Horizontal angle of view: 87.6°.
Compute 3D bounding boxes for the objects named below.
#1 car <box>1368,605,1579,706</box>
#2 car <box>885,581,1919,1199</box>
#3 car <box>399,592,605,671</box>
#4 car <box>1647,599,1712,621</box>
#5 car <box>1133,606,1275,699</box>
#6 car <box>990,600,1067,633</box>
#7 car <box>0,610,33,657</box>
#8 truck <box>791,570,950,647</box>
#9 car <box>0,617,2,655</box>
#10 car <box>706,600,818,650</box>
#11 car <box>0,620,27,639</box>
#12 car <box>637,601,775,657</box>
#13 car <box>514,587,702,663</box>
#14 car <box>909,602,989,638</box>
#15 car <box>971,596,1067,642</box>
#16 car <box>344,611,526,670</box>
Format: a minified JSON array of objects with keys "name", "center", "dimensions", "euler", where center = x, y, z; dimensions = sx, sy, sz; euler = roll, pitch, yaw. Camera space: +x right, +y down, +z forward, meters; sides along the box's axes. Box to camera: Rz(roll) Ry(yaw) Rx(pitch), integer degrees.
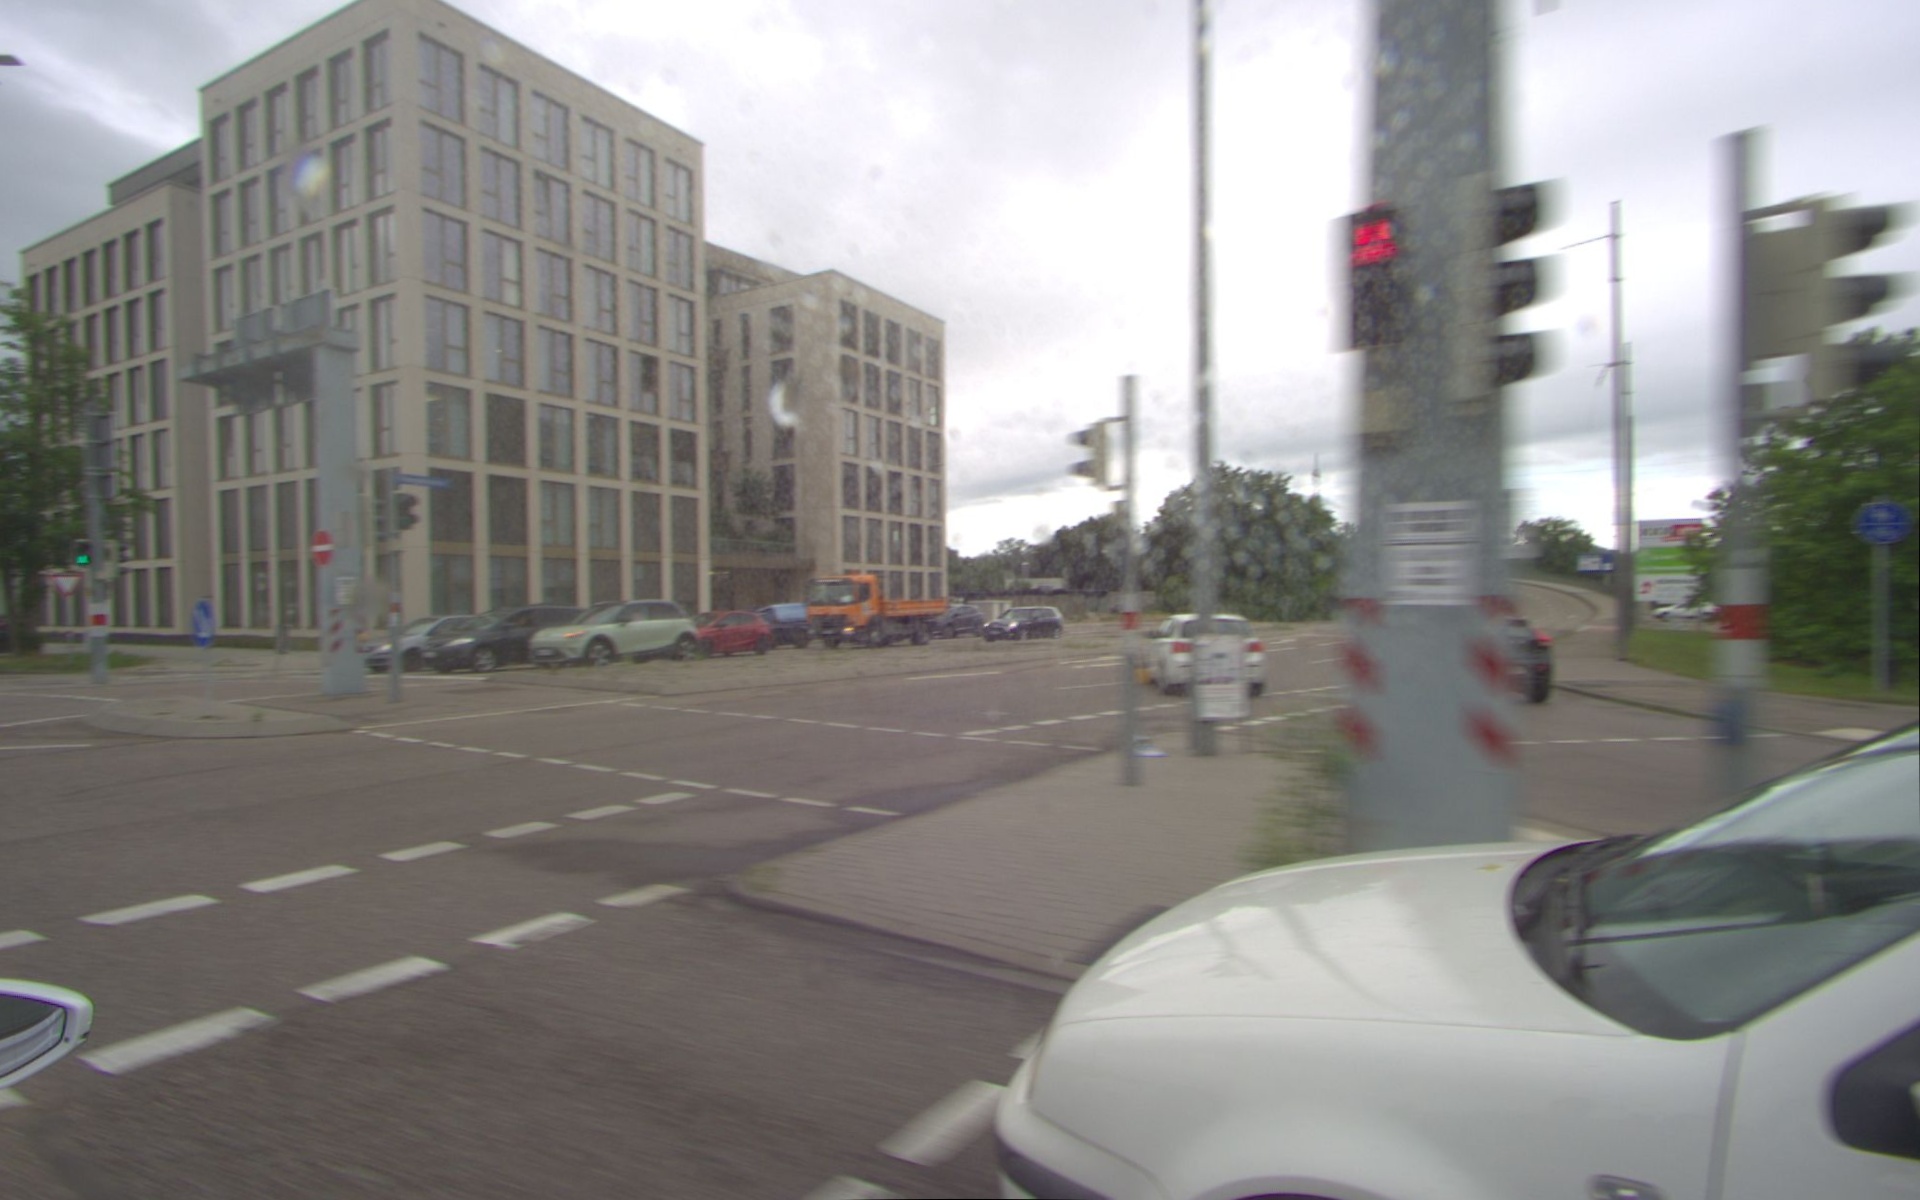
[{"name":"car","center":[8.732,0.923,17.471],"dimensions":[1.868,1.467,4.181],"euler":[2,-2,6]},{"name":"car","center":[1.999,0.737,1.526],"dimensions":[3.950,1.496,1.829],"euler":[-2,-3,34]},{"name":"car","center":[-11.350,0.805,25.113],"dimensions":[1.970,1.791,4.403],"euler":[-2,-2,30]},{"name":"car","center":[57.433,0.822,79.910],"dimensions":[4.146,1.630,1.711],"euler":[-2,-3,38]},{"name":"car","center":[4.400,0.890,18.682],"dimensions":[1.799,1.429,4.195],"euler":[-1,1,3]},{"name":"car","center":[3.815,0.944,54.967],"dimensions":[1.979,1.678,4.324],"euler":[-2,-3,42]},{"name":"car","center":[-37.199,1.268,37.240],"dimensions":[1.852,1.791,4.133],"euler":[-1,-1,-5]},{"name":"truck","center":[-3.300,0.443,38.742],"dimensions":[2.781,2.671,6.644],"euler":[-2,-3,31]},{"name":"car","center":[-40.738,1.470,39.806],"dimensions":[1.853,1.571,4.131],"euler":[-1,-1,-11]},{"name":"car","center":[-7.514,1.005,38.336],"dimensions":[1.970,1.791,4.132],"euler":[-2,-2,30]},{"name":"car","center":[-67.665,2.059,70.068],"dimensions":[1.458,1.349,3.238],"euler":[-1,-2,15]},{"name":"car","center":[-7.813,0.929,31.135],"dimensions":[1.971,1.621,3.983],"euler":[-2,-3,30]},{"name":"car","center":[-8.286,0.632,23.945],"dimensions":[1.876,1.664,4.053],"euler":[-2,-2,28]},{"name":"car","center":[-0.496,1.046,49.832],"dimensions":[1.974,1.678,4.096],"euler":[-2,-3,35]},{"name":"car","center":[2.500,0.832,41.600],"dimensions":[1.974,1.791,4.396],"euler":[-2,-3,35]},{"name":"car","center":[-14.015,1.087,26.960],"dimensions":[1.725,1.450,4.081],"euler":[-2,-3,30]}]
